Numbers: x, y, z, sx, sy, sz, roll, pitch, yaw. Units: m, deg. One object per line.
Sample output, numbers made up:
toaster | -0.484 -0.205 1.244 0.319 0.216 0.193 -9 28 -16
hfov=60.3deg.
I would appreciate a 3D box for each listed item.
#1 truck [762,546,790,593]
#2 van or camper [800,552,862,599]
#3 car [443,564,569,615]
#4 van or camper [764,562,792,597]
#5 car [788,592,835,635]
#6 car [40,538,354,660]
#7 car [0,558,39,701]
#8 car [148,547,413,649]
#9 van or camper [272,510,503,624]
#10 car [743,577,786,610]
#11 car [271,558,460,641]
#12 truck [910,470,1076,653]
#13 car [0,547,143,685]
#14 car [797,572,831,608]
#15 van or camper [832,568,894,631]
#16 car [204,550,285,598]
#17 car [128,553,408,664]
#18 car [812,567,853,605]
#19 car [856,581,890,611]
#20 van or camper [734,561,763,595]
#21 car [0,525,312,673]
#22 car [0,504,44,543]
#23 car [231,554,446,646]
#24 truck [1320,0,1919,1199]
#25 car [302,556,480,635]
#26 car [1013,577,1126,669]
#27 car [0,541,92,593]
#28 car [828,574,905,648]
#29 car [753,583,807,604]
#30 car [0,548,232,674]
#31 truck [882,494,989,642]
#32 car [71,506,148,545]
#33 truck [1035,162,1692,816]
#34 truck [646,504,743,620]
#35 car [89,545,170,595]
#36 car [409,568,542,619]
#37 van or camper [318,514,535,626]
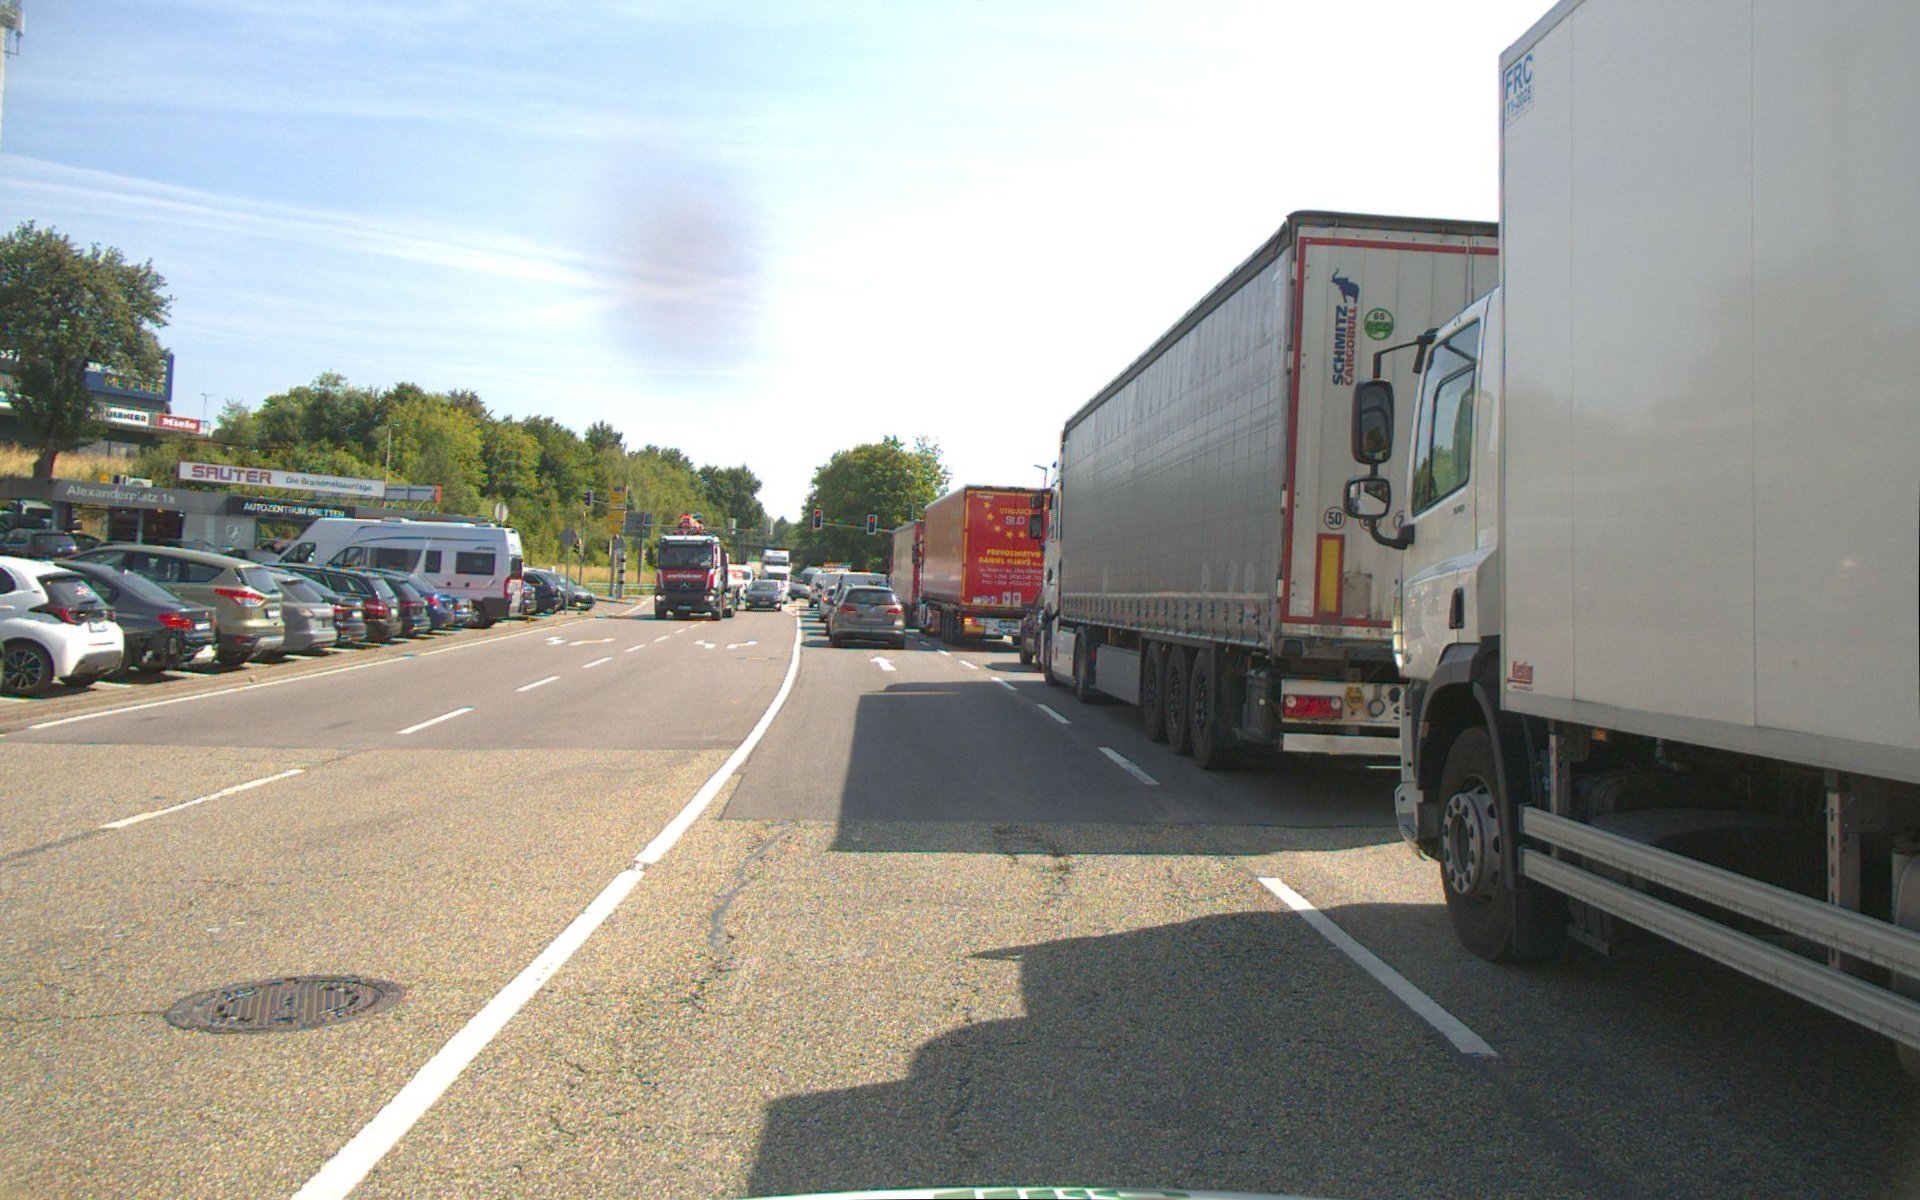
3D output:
truck | -17.806 -2.901 160.472 2.503 4.382 7.587 1 1 -5
van or camper | -9.765 -1.828 125.887 2.162 3.109 5.902 4 -1 21
car | -15.132 -0.353 55.306 3.743 1.566 1.840 2 0 -6
van or camper | -16.066 -1.762 146.274 2.181 2.890 5.704 3 0 -5
car | -5.729 0.506 64.056 1.693 1.545 3.309 3 0 -4
car | -12.423 -0.011 27.179 4.197 1.510 1.833 6 0 -7
car | -11.114 0.243 16.497 1.744 1.519 3.779 6 0 -3
car | -13.260 -0.036 32.508 4.376 1.510 1.769 6 0 -7
van or camper | -16.340 -0.939 47.526 5.777 2.923 2.287 2 1 -5
car | -9.758 -0.347 82.852 1.770 1.587 4.385 1 0 -2
car | -13.342 -0.023 37.290 3.637 1.582 1.705 4 1 -7
truck | 0.579 -1.031 48.802 2.900 4.344 16.566 2 0 -5
car | -11.998 0.125 19.552 3.723 1.552 1.844 2 0 -7
car | -8.361 -0.555 94.955 1.692 1.942 3.311 3 0 -2
van or camper | -3.233 -0.030 54.693 1.817 1.939 3.780 3 0 -6
car | -25.758 -0.939 59.507 1.751 1.616 3.777 1 0 -38
car | -12.418 0.146 29.918 4.218 1.510 1.796 6 0 -7
car | -5.594 -0.600 72.744 1.693 1.545 3.309 3 0 -4
car | -4.939 -0.215 93.772 1.693 1.545 3.308 3 -1 -6
van or camper | -17.279 -1.778 135.086 2.131 2.595 4.165 3 0 -6
car | -11.981 -0.013 24.668 3.813 1.746 1.804 6 0 -7
car | -38.727 -3.091 67.061 3.686 1.476 1.724 2 -1 44
car | -12.984 -0.001 34.745 3.772 1.510 1.799 6 0 -7
truck | 3.519 -0.376 3.124 2.821 3.877 11.138 2 0 -2
car | -13.648 -0.110 39.828 3.638 1.510 1.705 6 0 -7
car | 2.167 0.421 33.719 1.783 1.714 3.998 1 0 -3
car | -30.820 -1.108 55.191 3.751 1.616 1.763 2 0 35
car | -2.241 0.245 40.330 1.754 1.667 3.502 1 0 -2
car | -13.121 -0.462 120.753 1.683 1.473 4.066 2 0 35
car | -11.870 0.120 21.936 3.637 1.552 1.789 1 0 -7
truck | -1.288 -1.274 69.353 3.003 5.311 16.988 2 0 -5
car | -35.085 -3.066 68.190 3.686 1.476 1.724 2 -1 44
truck | 3.139 -0.796 19.598 2.832 4.340 16.700 2 0 -3
truck | -10.539 -1.476 66.641 2.898 4.282 10.638 0 1 -4
car | -28.423 -1.024 56.555 1.751 1.616 3.777 1 0 -38
car | -15.308 -0.211 52.418 3.743 1.473 1.840 2 0 -6
van or camper | -14.514 -0.816 45.265 5.142 2.779 2.209 2 0 -4
